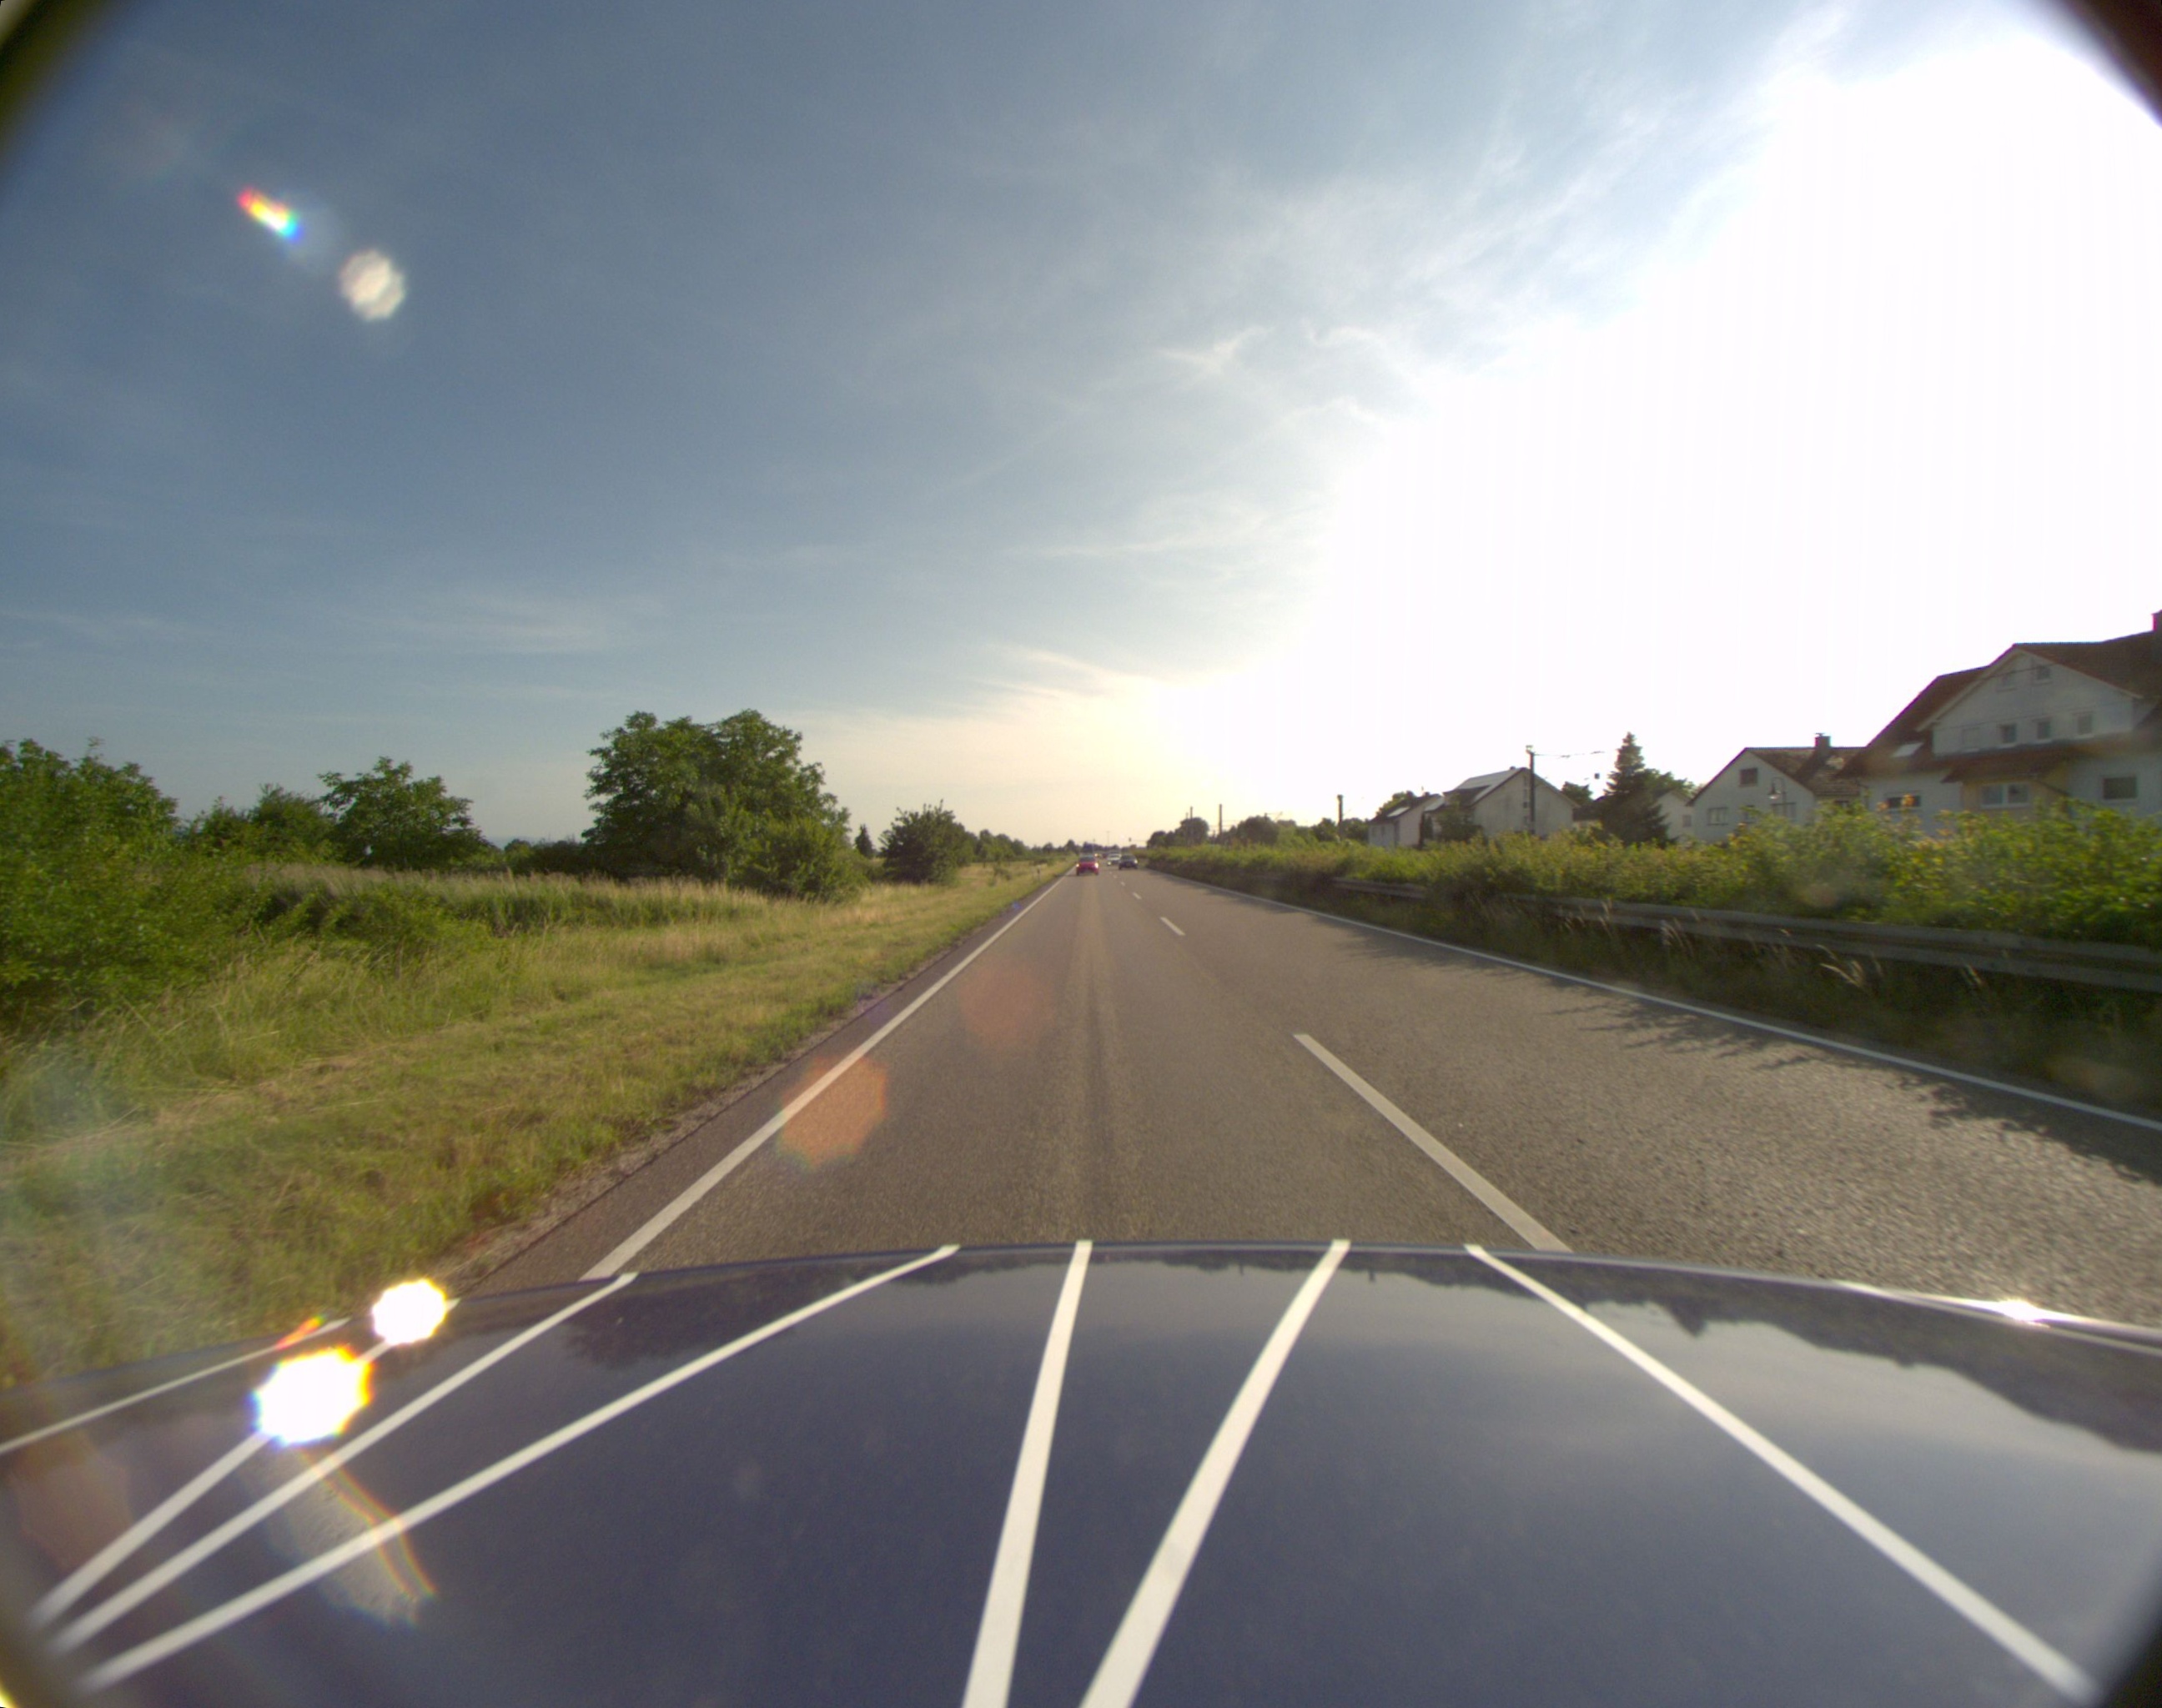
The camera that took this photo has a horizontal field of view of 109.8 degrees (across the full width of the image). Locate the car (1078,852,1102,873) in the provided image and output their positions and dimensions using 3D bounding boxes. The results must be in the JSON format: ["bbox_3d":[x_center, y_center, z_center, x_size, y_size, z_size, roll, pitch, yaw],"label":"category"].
[{"bbox_3d":[0.690,0.660,59.288,1.735,1.467,4.000,-2,0,1],"label":"car"}]

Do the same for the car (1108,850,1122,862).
[{"bbox_3d":[4.324,0.284,96.588,1.636,1.442,4.000,-2,0,1],"label":"car"}]

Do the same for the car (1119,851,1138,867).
[{"bbox_3d":[4.517,0.457,73.094,1.636,1.500,4.000,-2,0,1],"label":"car"}]

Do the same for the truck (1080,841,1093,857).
[{"bbox_3d":[1.365,-1.222,191.543,2.849,3.896,10.103,-2,0,1],"label":"truck"}]

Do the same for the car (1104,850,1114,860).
[{"bbox_3d":[6.315,0.218,172.304,1.998,2.002,4.000,-2,0,1],"label":"car"}]

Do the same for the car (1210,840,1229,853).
[{"bbox_3d":[20.574,-1.084,112.810,1.998,1.740,4.000,-2,0,1],"label":"car"}]

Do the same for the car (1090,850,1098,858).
[{"bbox_3d":[2.712,-0.057,155.592,1.636,1.442,4.000,-2,0,1],"label":"car"}]

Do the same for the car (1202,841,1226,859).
[{"bbox_3d":[15.507,-0.456,88.783,1.998,2.002,4.871,-2,0,1],"label":"car"}]
